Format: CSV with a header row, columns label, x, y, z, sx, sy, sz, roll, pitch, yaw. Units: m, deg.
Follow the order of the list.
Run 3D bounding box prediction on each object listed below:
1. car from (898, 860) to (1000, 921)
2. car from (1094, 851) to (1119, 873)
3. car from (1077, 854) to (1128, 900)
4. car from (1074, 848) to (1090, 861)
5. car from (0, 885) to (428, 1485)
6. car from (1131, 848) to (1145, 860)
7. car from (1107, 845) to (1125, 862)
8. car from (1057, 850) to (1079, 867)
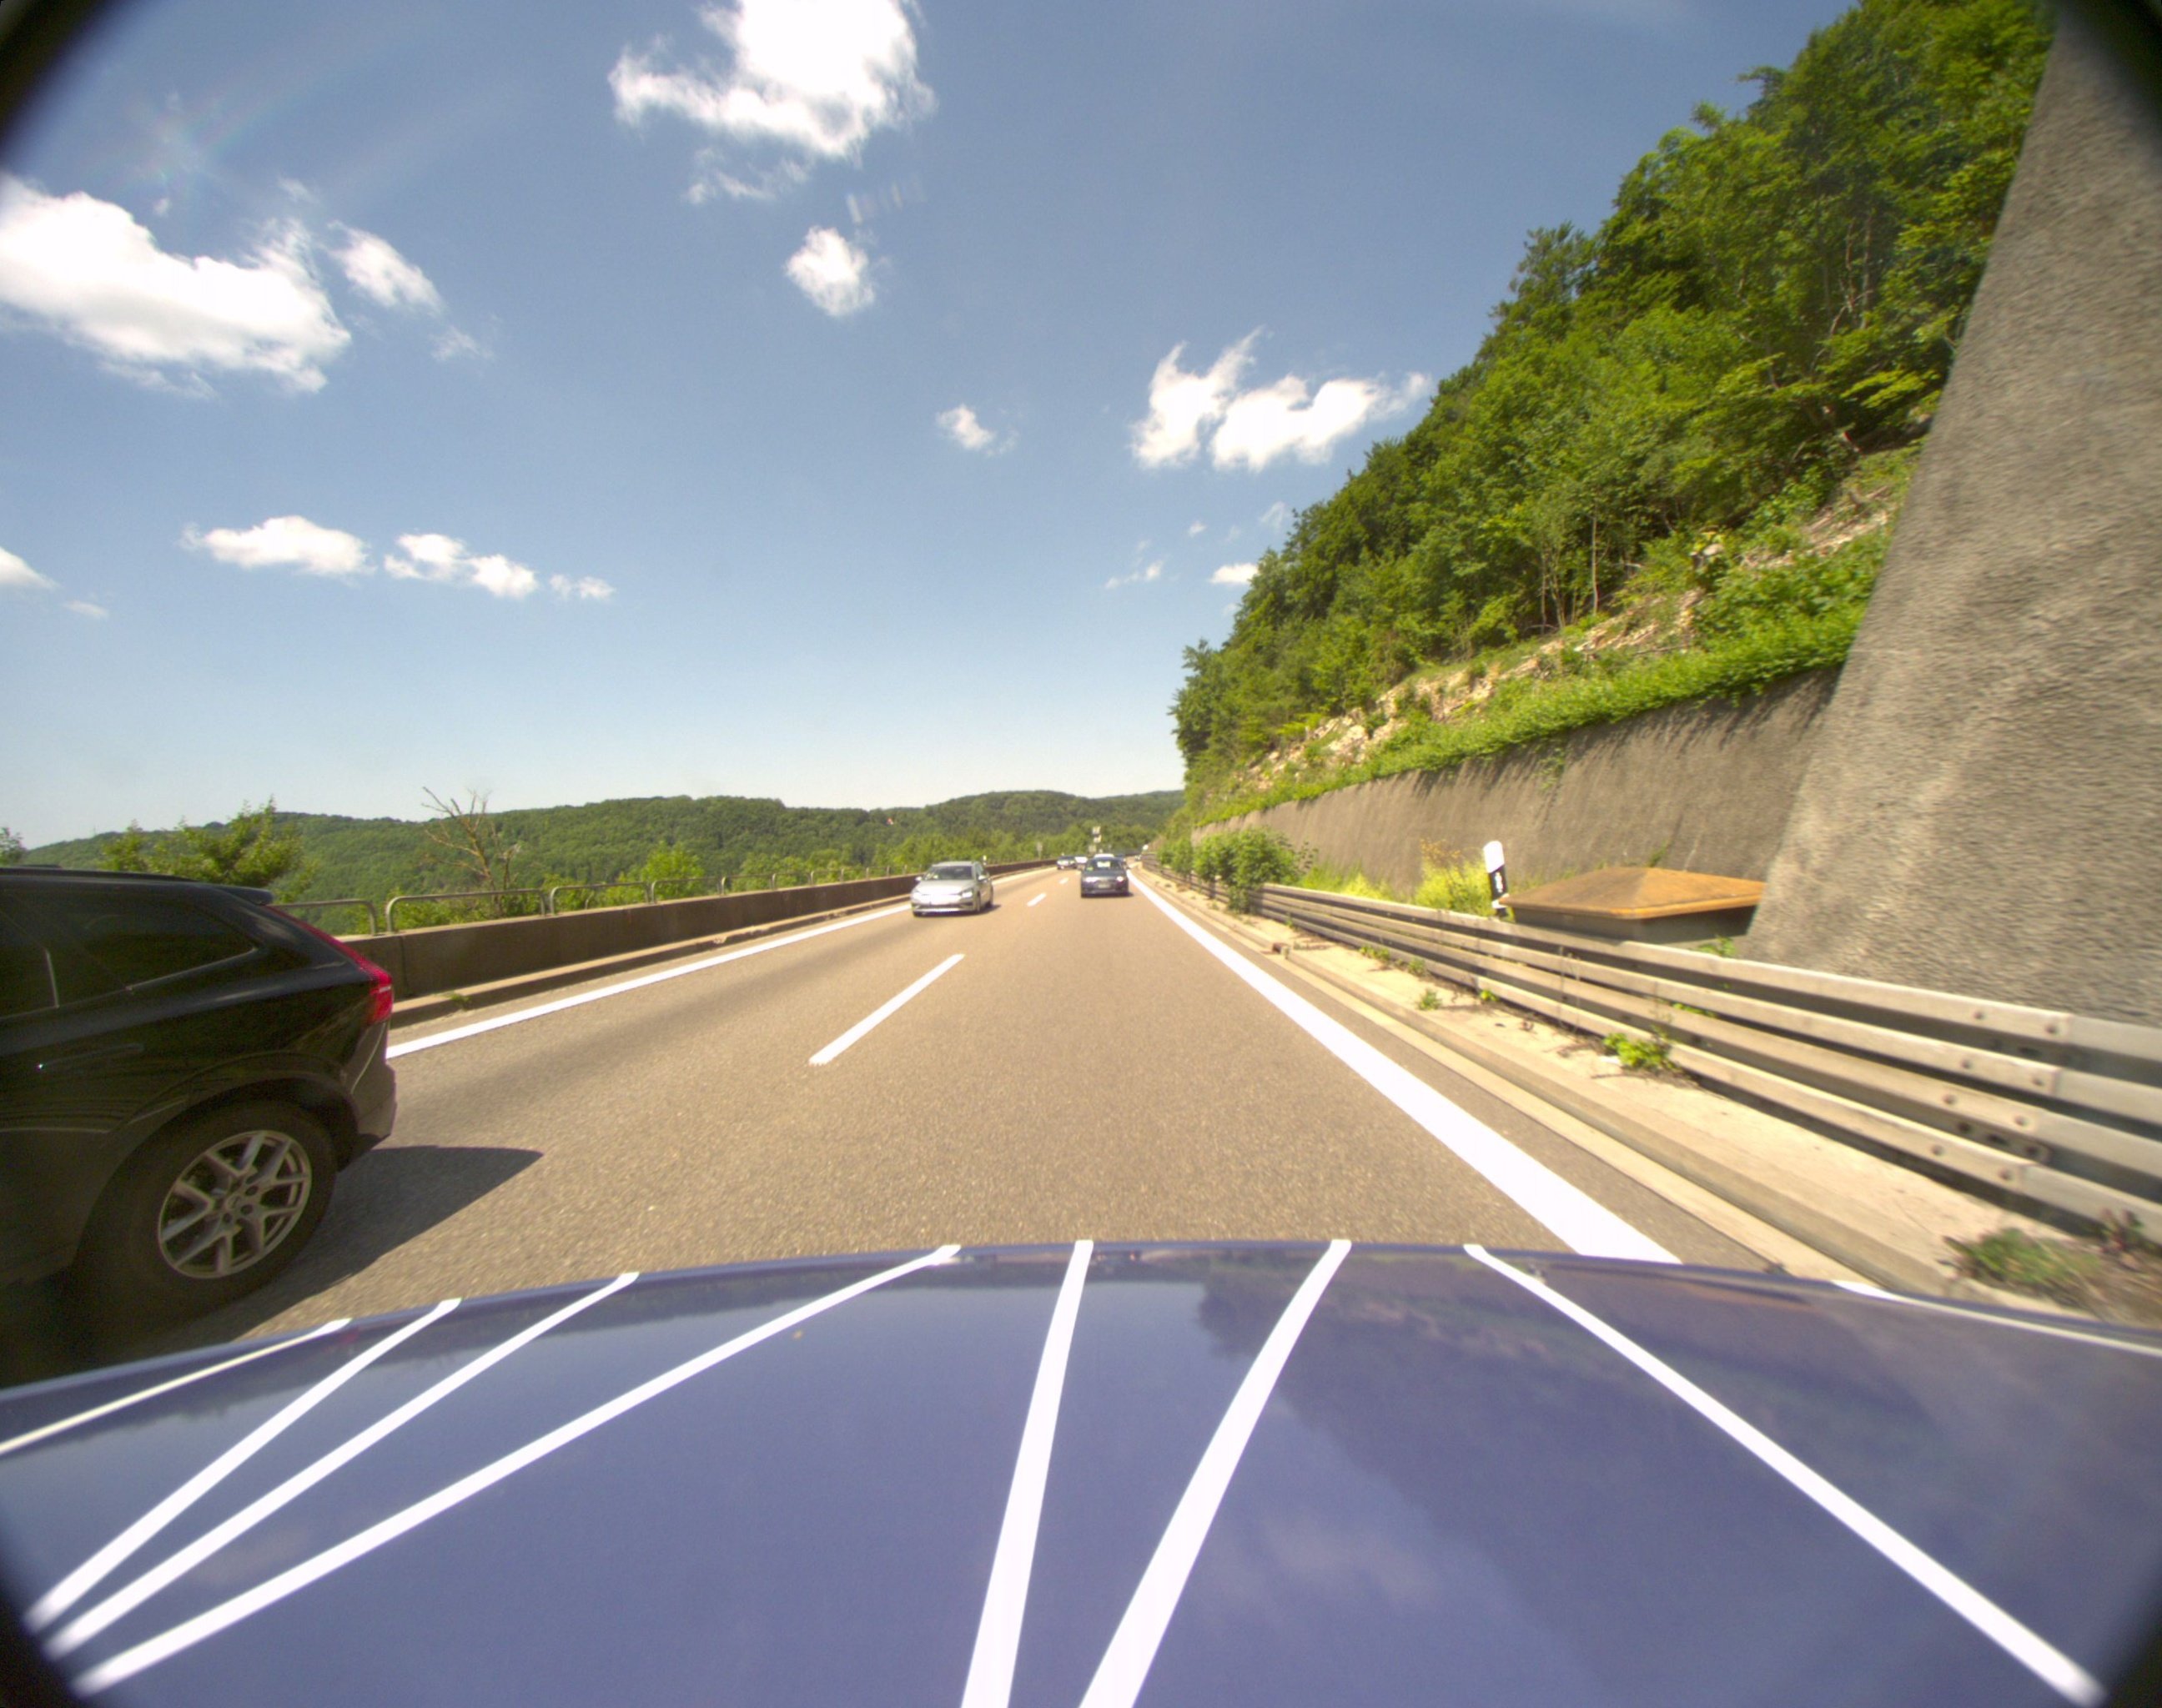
label,x,y,z,sx,sy,sz,roll,pitch,yaw
car,-3.639,0.958,21.718,1.972,1.370,4.293,-3,1,2
car,1.809,0.549,53.615,1.703,1.432,4.044,0,1,2
car,0.786,0.772,27.526,1.669,1.415,4.043,-2,1,2
car,0.193,0.027,98.906,1.775,1.565,4.001,-2,0,3
car,-3.976,0.997,1.190,1.839,1.624,4.661,-2,0,0
car,9.747,0.012,129.422,1.997,2.002,4.002,-2,1,8
car,4.418,-0.033,94.818,1.998,2.002,4.001,-1,0,5
car,-1.327,0.432,77.164,1.875,1.565,4.001,-2,0,3
